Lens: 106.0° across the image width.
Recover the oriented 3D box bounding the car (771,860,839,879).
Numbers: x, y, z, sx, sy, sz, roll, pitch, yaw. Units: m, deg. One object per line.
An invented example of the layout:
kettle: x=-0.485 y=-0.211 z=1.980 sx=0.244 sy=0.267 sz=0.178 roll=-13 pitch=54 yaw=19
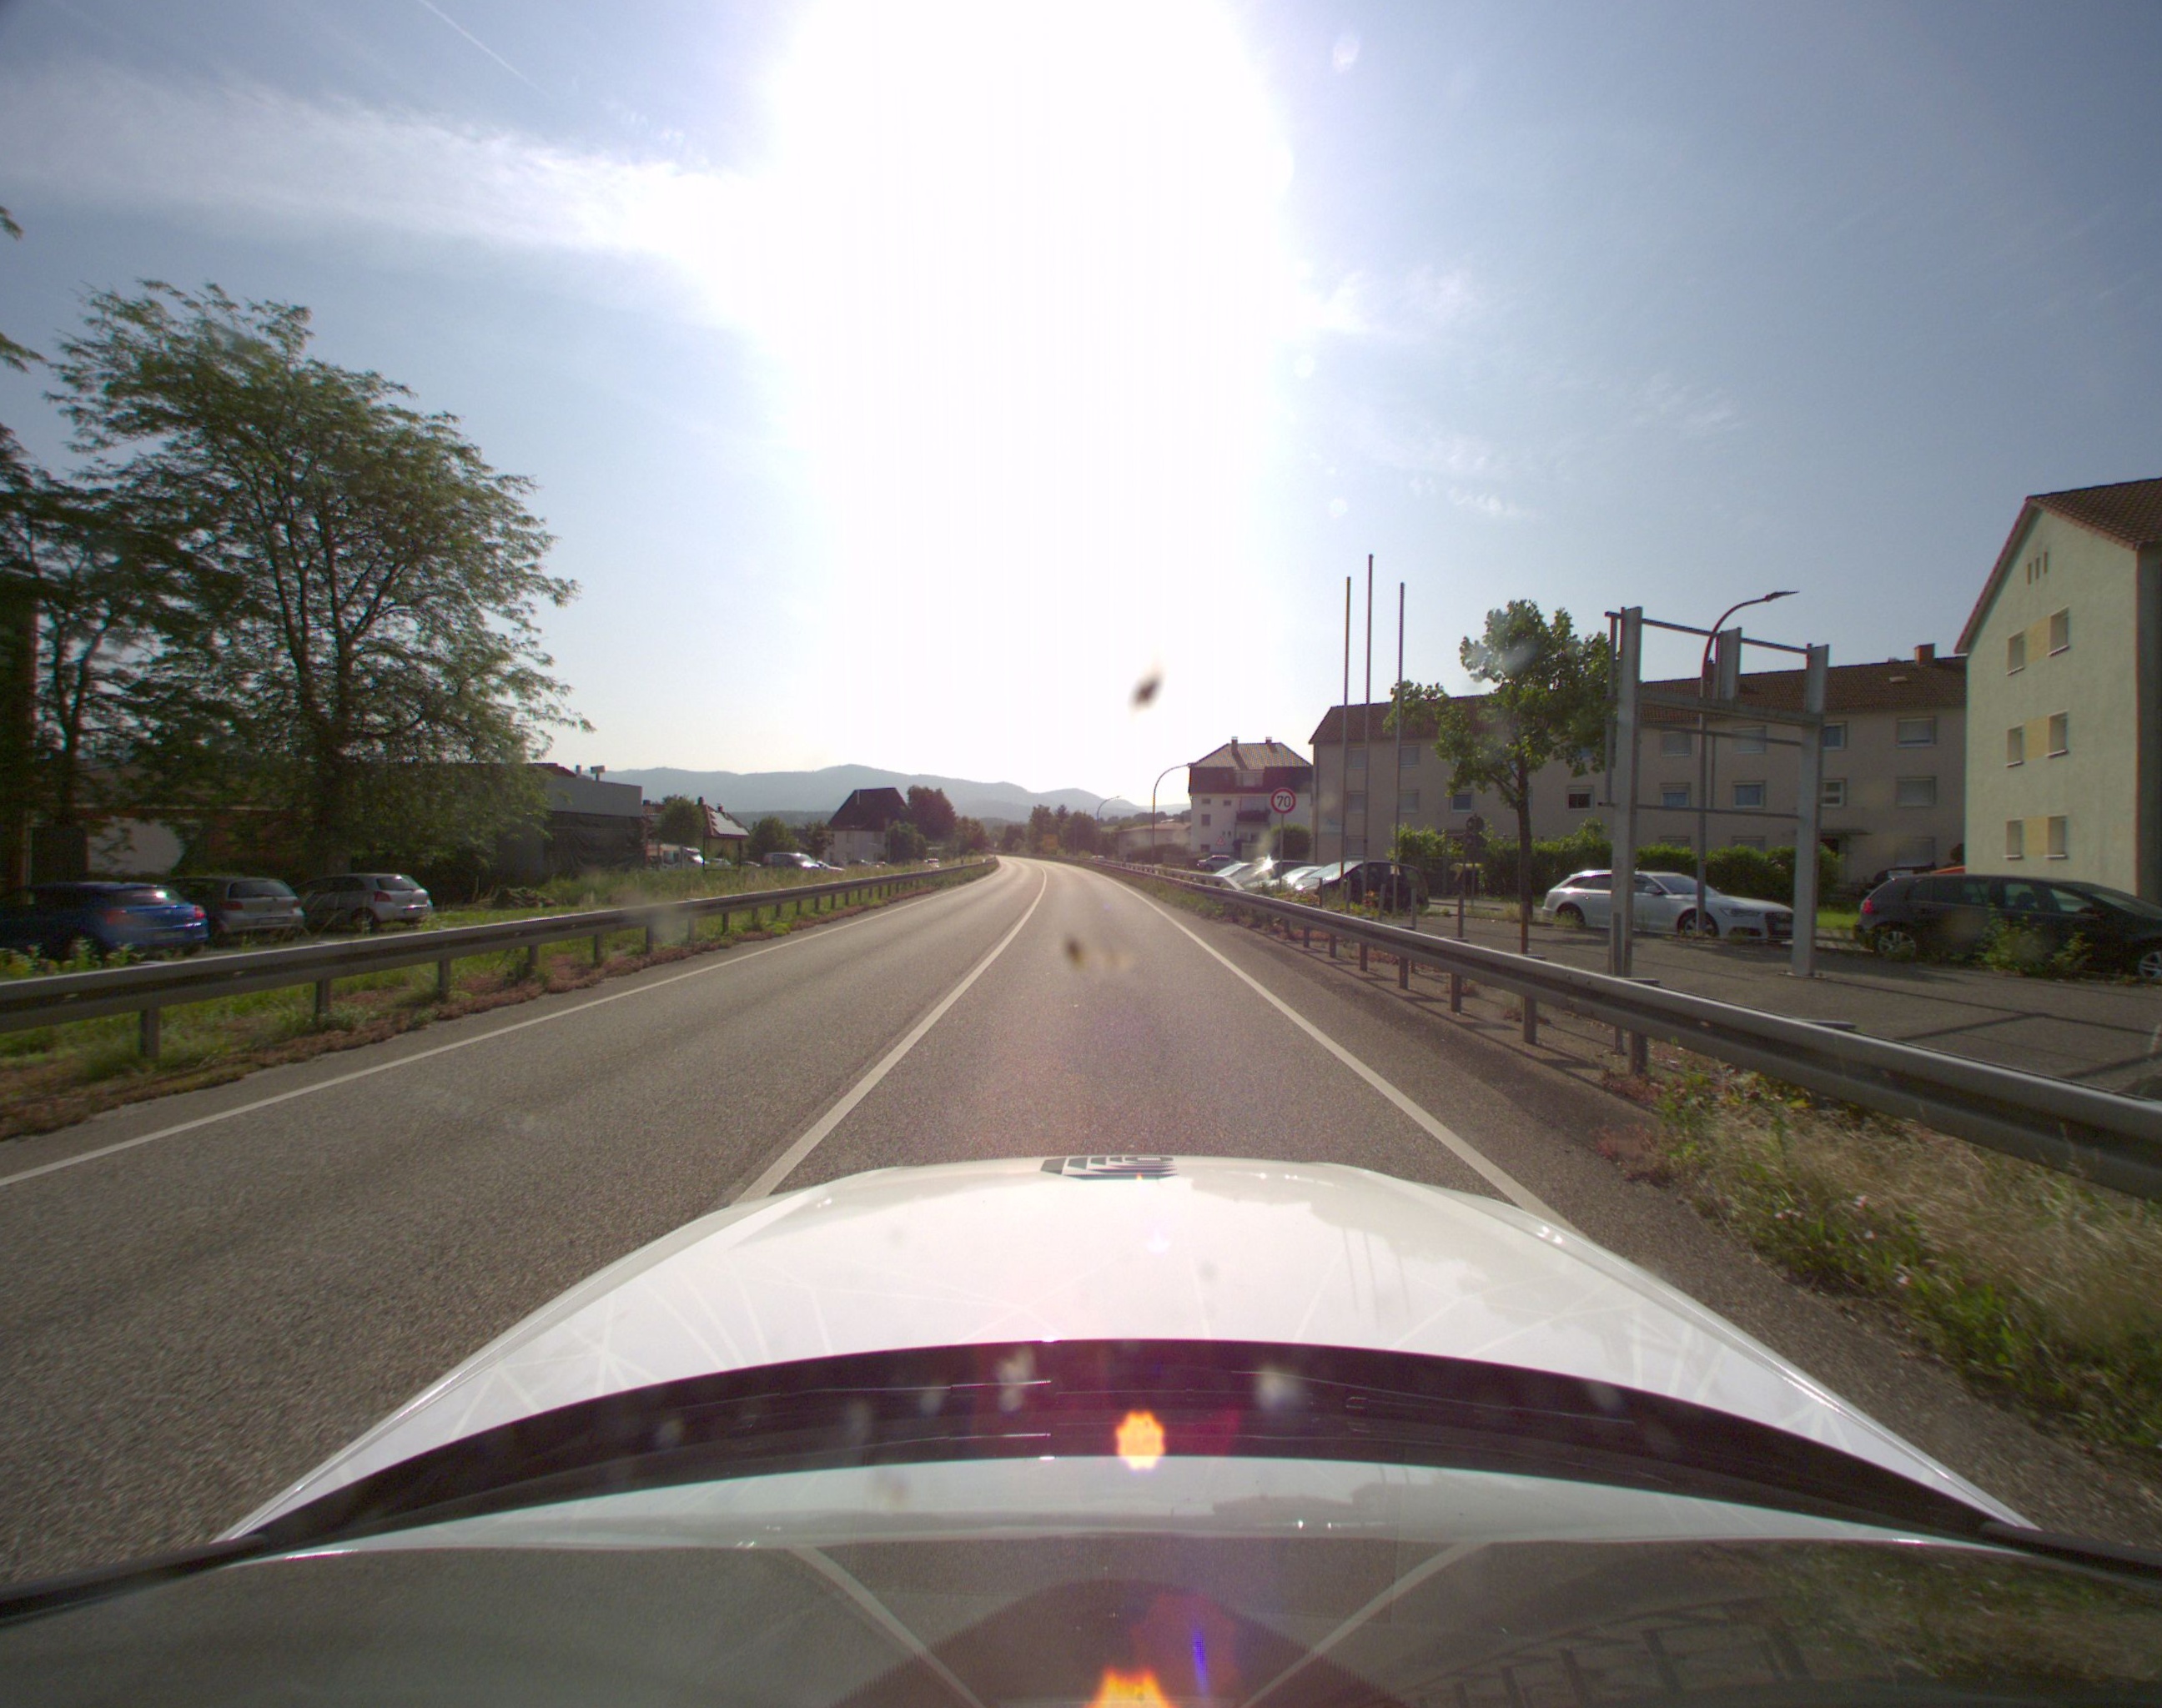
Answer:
car: x=-20.796 y=1.128 z=61.545 sx=4.611 sy=1.382 sz=1.739 roll=0 pitch=0 yaw=-8

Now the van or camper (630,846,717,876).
van or camper: x=-40.699 y=0.662 z=81.479 sx=7.362 sy=2.842 sz=2.750 roll=1 pitch=0 yaw=3

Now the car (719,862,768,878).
car: x=-37.368 y=1.789 z=90.140 sx=4.538 sy=1.634 sz=1.863 roll=1 pitch=-2 yaw=3

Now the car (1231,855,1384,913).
car: x=6.690 y=0.883 z=24.215 sx=3.987 sy=1.450 sz=1.758 roll=4 pitch=-1 yaw=-10

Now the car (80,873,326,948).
car: x=-19.692 y=1.218 z=18.369 sx=3.727 sy=1.499 sz=1.861 roll=1 pitch=-1 yaw=6

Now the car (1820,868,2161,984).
car: x=13.704 y=0.916 z=11.589 sx=1.709 sy=1.405 sz=4.454 roll=0 pitch=-1 yaw=-20

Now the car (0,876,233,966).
car: x=-18.995 y=1.225 z=15.427 sx=3.735 sy=1.499 sz=1.932 roll=1 pitch=-1 yaw=0

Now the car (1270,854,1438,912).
car: x=7.316 y=0.743 z=21.904 sx=4.066 sy=1.452 sz=1.719 roll=0 pitch=-1 yaw=-16

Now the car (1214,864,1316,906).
car: x=6.670 y=1.132 z=29.633 sx=3.266 sy=1.376 sz=1.543 roll=3 pitch=-2 yaw=-12

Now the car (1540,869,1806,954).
car: x=12.140 y=1.082 z=17.120 sx=1.786 sy=1.420 sz=4.416 roll=0 pitch=0 yaw=-15

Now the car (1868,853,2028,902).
car: x=33.476 y=0.902 z=31.607 sx=3.948 sy=1.739 sz=1.827 roll=0 pitch=-4 yaw=36

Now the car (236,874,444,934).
car: x=-19.466 y=1.283 z=21.532 sx=3.735 sy=1.460 sz=1.861 roll=0 pitch=-1 yaw=-1

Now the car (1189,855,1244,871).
car: x=12.252 y=0.794 z=73.621 sx=4.555 sy=1.348 sz=1.765 roll=-1 pitch=1 yaw=24

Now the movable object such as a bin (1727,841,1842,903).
movable object such as a bin: x=28.619 y=0.718 z=33.219 sx=3.489 sy=2.358 sz=1.594 roll=0 pitch=-4 yaw=42

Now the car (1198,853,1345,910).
car: x=6.223 y=0.897 z=26.768 sx=4.237 sy=1.572 sz=1.910 roll=4 pitch=-2 yaw=-13

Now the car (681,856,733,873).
car: x=-39.344 y=1.106 z=85.779 sx=4.538 sy=1.633 sz=1.864 roll=1 pitch=0 yaw=3

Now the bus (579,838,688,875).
bus: x=-42.806 y=0.192 z=78.025 sx=9.059 sy=3.354 sz=2.668 roll=1 pitch=1 yaw=3

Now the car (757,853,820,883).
car: x=-20.387 y=0.947 z=56.631 sx=4.843 sy=2.013 sz=2.012 roll=0 pitch=0 yaw=41
